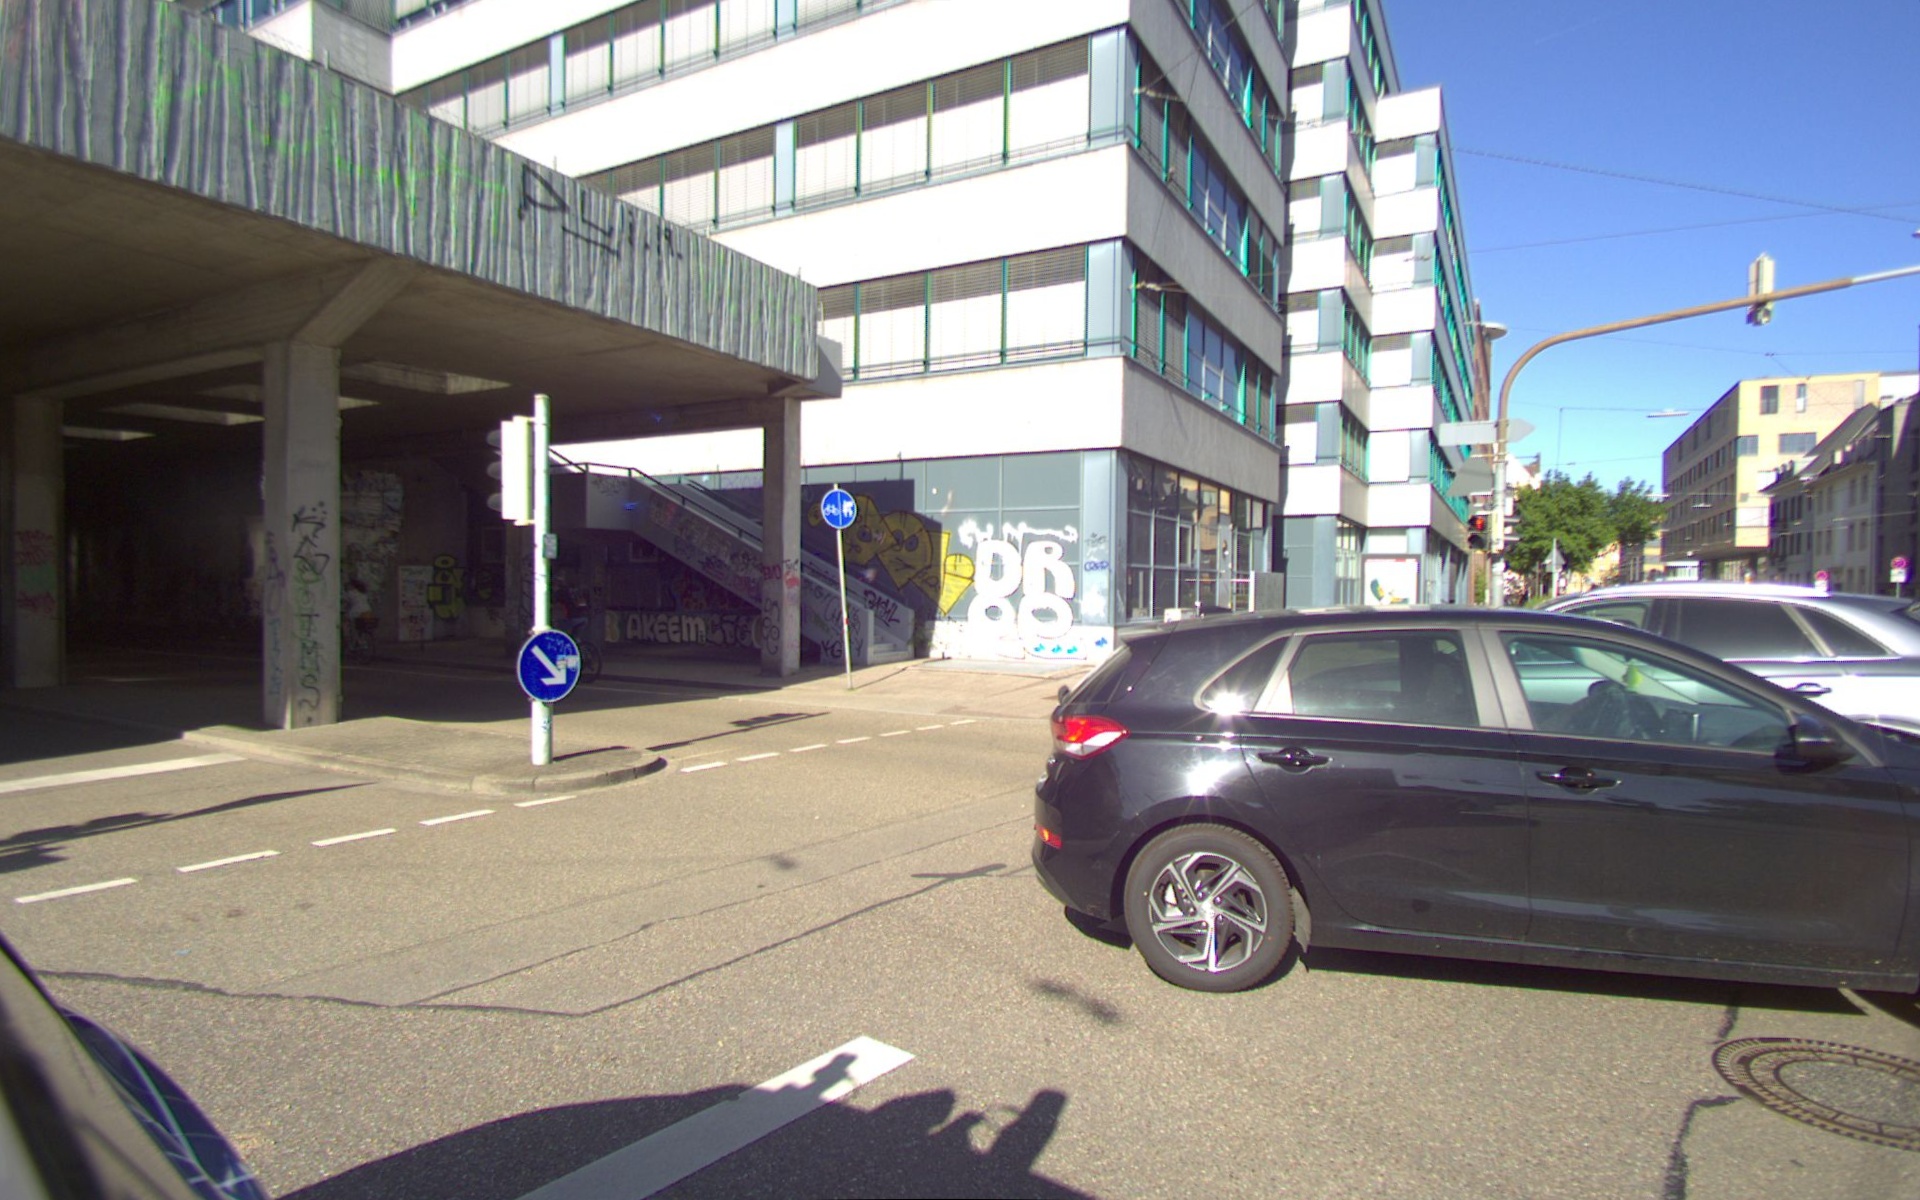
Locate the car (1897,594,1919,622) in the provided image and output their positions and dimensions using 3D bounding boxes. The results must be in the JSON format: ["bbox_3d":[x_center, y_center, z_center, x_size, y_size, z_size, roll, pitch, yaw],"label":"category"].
[{"bbox_3d":[47.652,0.369,49.441,1.957,1.373,3.801,-1,0,31],"label":"car"}]

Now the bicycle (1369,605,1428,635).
[{"bbox_3d":[15.886,0.711,36.709,1.897,0.988,0.481,1,2,39],"label":"bicycle"}]

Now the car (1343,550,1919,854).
[{"bbox_3d":[4.902,0.532,6.695,4.137,1.622,1.869,1,1,34],"label":"car"}]

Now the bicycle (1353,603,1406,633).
[{"bbox_3d":[14.896,0.637,35.956,1.664,0.988,0.481,1,2,39],"label":"bicycle"}]

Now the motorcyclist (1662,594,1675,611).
[{"bbox_3d":[77.581,0.295,110.783,0.937,1.884,1.047,1,0,26],"label":"motorcyclist"}]

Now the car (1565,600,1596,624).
[{"bbox_3d":[44.455,0.808,72.547,1.774,1.614,3.959,0,1,30],"label":"car"}]

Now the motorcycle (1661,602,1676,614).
[{"bbox_3d":[77.590,0.911,110.799,0.912,1.242,2.739,1,1,26],"label":"motorcycle"}]

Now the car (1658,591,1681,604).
[{"bbox_3d":[78.464,-0.319,111.903,1.797,1.373,3.673,-1,0,31],"label":"car"}]

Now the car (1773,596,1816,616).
[{"bbox_3d":[59.818,0.425,72.593,1.797,1.373,3.673,-1,0,31],"label":"car"}]

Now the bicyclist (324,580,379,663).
[{"bbox_3d":[-12.411,0.429,20.658,0.906,1.645,0.601,0,0,30],"label":"bicyclist"}]

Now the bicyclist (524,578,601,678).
[{"bbox_3d":[-6.850,0.464,17.453,1.027,1.673,0.776,0,0,31],"label":"bicyclist"}]

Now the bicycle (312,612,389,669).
[{"bbox_3d":[-12.478,0.813,20.712,1.852,1.098,0.522,1,1,30],"label":"bicycle"}]

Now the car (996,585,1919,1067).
[{"bbox_3d":[2.436,0.702,4.166,4.287,1.462,1.797,0,-1,16],"label":"car"}]

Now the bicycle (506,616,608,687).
[{"bbox_3d":[-7.000,0.869,17.521,2.051,1.131,0.537,0,0,32],"label":"bicycle"}]

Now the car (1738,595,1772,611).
[{"bbox_3d":[67.230,0.245,85.645,1.797,1.339,3.673,-1,0,31],"label":"car"}]
